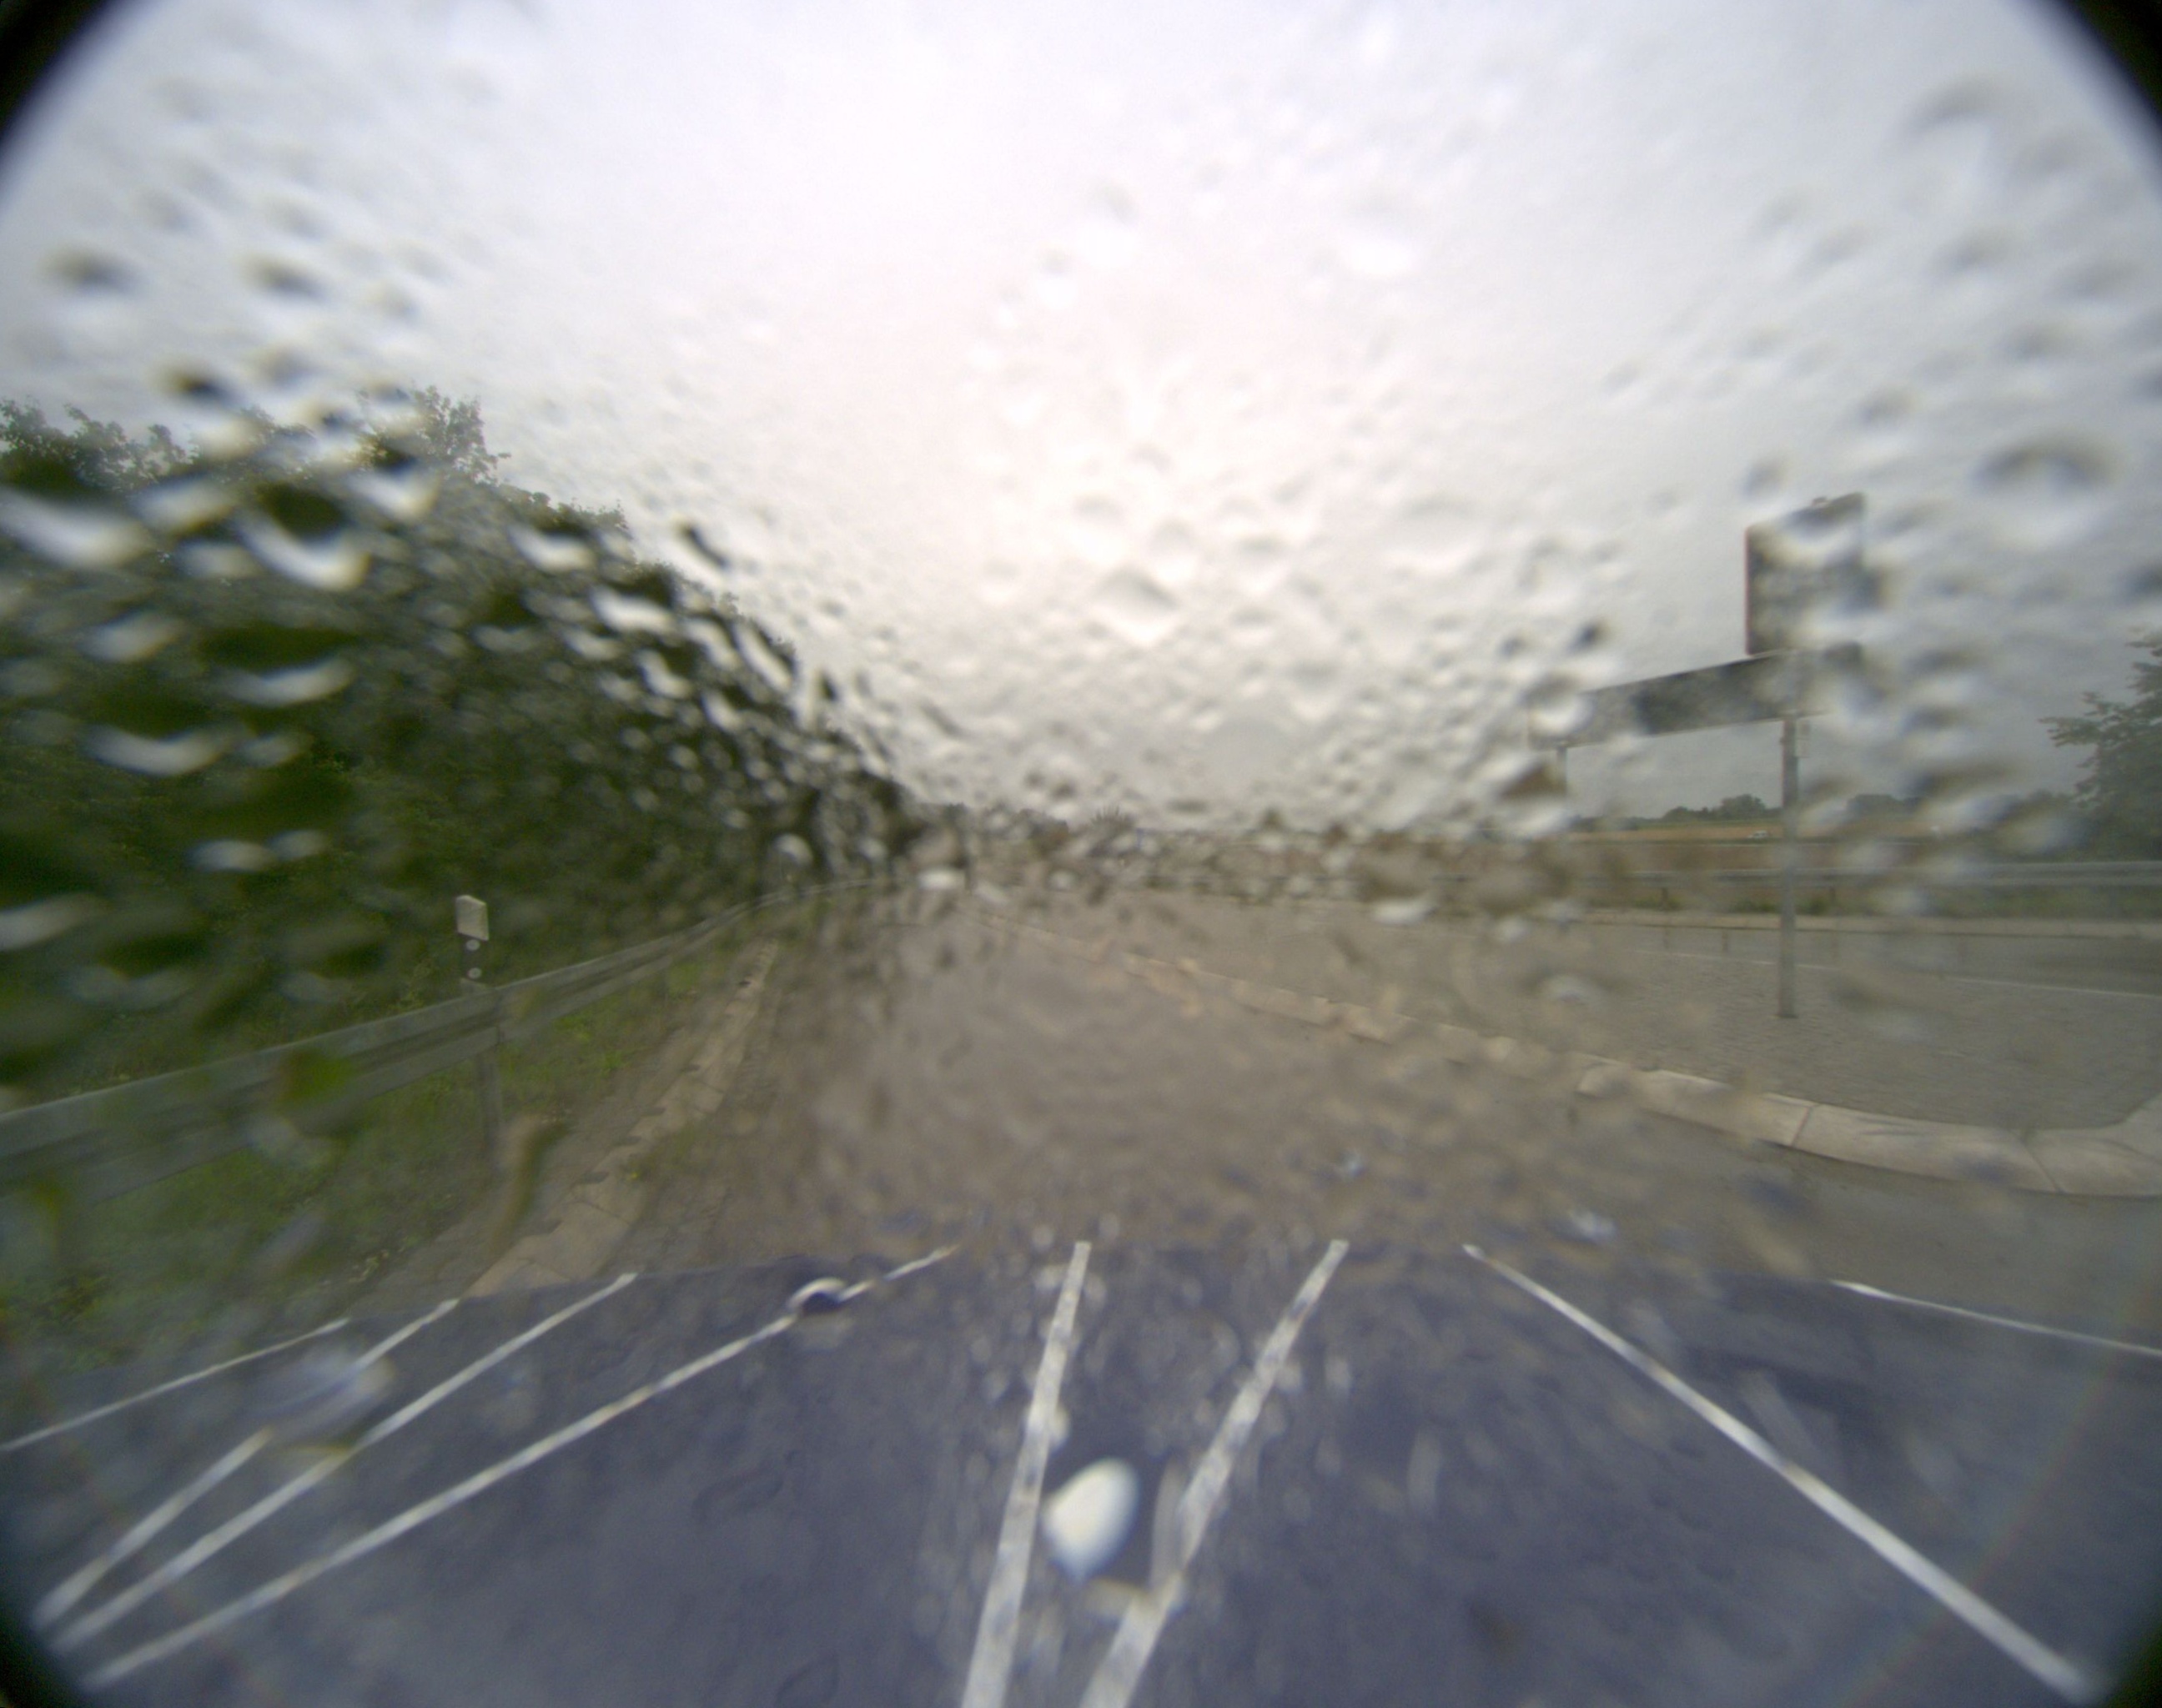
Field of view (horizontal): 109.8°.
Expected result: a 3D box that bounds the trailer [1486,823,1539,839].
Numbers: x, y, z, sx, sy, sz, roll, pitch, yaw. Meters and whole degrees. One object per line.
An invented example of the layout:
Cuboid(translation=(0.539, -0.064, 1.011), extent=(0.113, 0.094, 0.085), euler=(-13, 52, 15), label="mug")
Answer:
Cuboid(translation=(111.425, -5.819, 196.417), extent=(11.444, 3.868, 2.954), euler=(1, 6, 45), label="trailer")

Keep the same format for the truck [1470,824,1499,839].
Cuboid(translation=(106.730, -5.933, 201.087), extent=(6.258, 3.894, 2.954), euler=(1, 6, 45), label="truck")

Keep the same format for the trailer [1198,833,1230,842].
Cuboid(translation=(45.529, -5.574, 259.965), extent=(11.444, 2.896, 2.003), euler=(1, 6, 45), label="trailer")

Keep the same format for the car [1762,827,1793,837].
Cuboid(translation=(149.703, -4.699, 163.354), extent=(2.003, 2.003, 4.799), euler=(-6, 6, -43), label="car")
